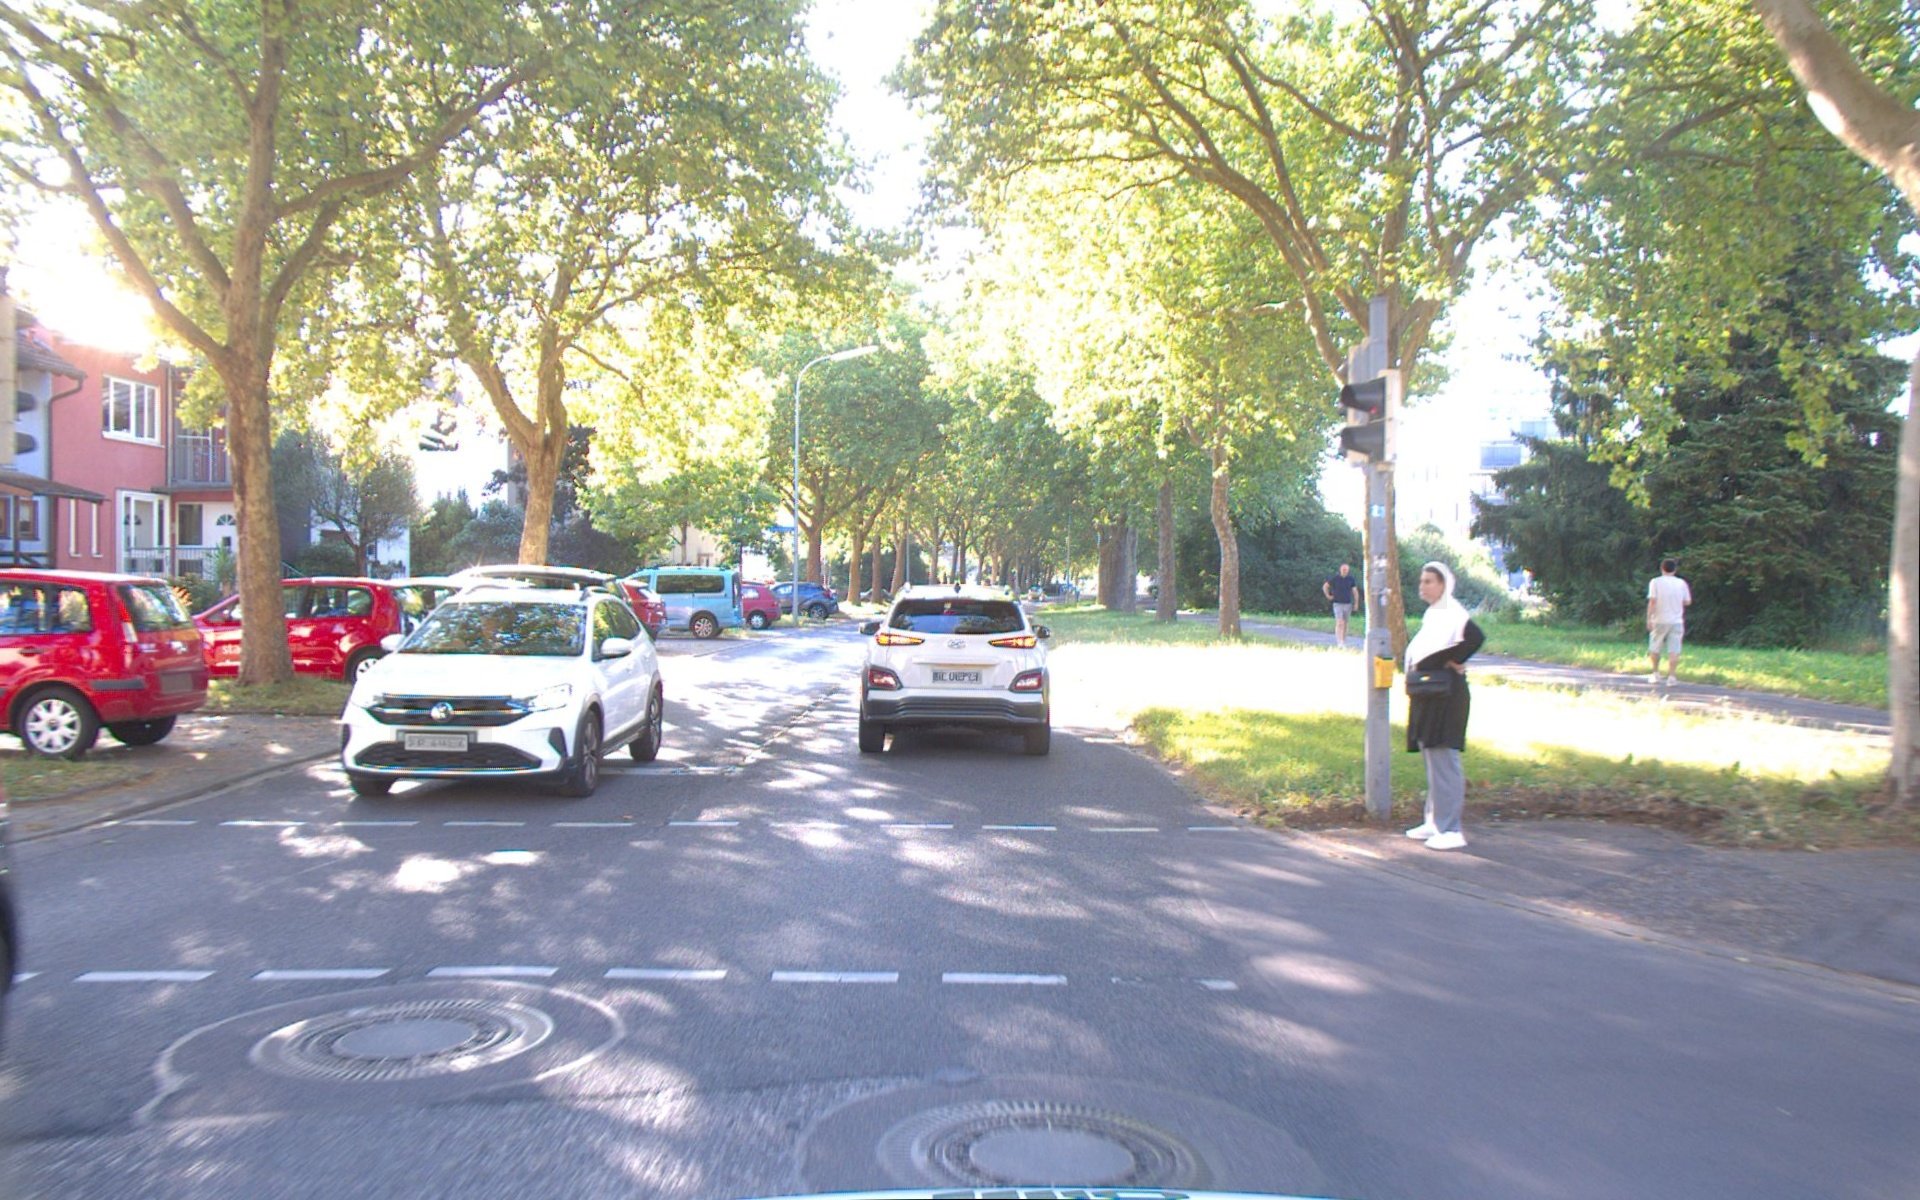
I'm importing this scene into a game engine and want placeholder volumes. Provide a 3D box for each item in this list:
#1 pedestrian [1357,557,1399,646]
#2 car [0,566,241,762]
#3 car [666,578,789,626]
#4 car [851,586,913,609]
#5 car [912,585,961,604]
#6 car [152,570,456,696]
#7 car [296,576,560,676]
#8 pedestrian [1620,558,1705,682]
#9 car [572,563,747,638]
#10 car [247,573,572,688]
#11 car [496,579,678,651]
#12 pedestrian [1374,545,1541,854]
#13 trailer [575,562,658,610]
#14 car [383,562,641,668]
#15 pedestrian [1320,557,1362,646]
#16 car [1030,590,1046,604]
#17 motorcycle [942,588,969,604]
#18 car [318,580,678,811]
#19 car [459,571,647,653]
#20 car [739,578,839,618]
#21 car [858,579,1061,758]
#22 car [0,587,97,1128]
[{"bbox_3d":[8.961,0.029,35.459,0.739,1.880,0.803,0,0,3],"label":"pedestrian"},{"bbox_3d":[-8.409,0.491,14.156,3.689,1.561,1.831,1,0,-3],"label":"car"},{"bbox_3d":[-7.536,0.047,53.879,3.793,1.545,1.664,0,0,-2],"label":"car"},{"bbox_3d":[-4.997,-0.160,106.414,3.746,1.339,1.791,2,0,3],"label":"car"},{"bbox_3d":[-2.045,-0.473,143.569,4.096,1.612,2.000,1,0,1],"label":"car"},{"bbox_3d":[-8.511,0.416,21.657,3.272,1.505,1.695,1,0,-2],"label":"car"},{"bbox_3d":[-8.551,0.400,26.787,3.682,1.509,1.754,1,0,-1],"label":"car"},{"bbox_3d":[9.743,0.266,22.965,0.763,1.678,0.938,0,0,-1],"label":"pedestrian"},{"bbox_3d":[-7.930,0.010,43.950,4.297,1.856,1.995,1,0,-2],"label":"car"},{"bbox_3d":[-7.912,0.422,24.054,4.078,1.527,1.875,1,0,-2],"label":"car"},{"bbox_3d":[-8.113,0.305,36.180,3.567,1.543,1.782,0,0,0],"label":"car"},{"bbox_3d":[2.962,0.563,9.910,0.623,1.749,0.824,-2,1,-8],"label":"pedestrian"},{"bbox_3d":[-16.108,-0.661,77.610,3.382,1.959,1.644,5,2,1],"label":"trailer"},{"bbox_3d":[-7.794,0.244,29.038,4.008,1.746,1.831,1,0,-1],"label":"car"},{"bbox_3d":[8.172,0.026,35.502,0.745,1.878,0.788,0,0,3],"label":"pedestrian"},{"bbox_3d":[8.207,-0.293,175.063,1.654,1.490,3.695,1,0,2],"label":"car"},{"bbox_3d":[-0.404,-0.341,145.779,2.336,1.412,0.648,1,1,0],"label":"motorcycle"},{"bbox_3d":[-3.456,0.633,13.167,1.681,1.527,4.094,1,0,0],"label":"car"},{"bbox_3d":[-8.305,0.237,33.982,3.443,1.543,1.725,2,0,-4],"label":"car"},{"bbox_3d":[-6.978,-0.083,67.790,3.907,1.545,1.817,1,0,-2],"label":"car"},{"bbox_3d":[-0.082,0.595,16.725,1.799,1.583,3.998,0,0,-3],"label":"car"},{"bbox_3d":[-3.389,0.711,3.042,1.692,1.489,4.065,0,0,-4],"label":"car"}]
